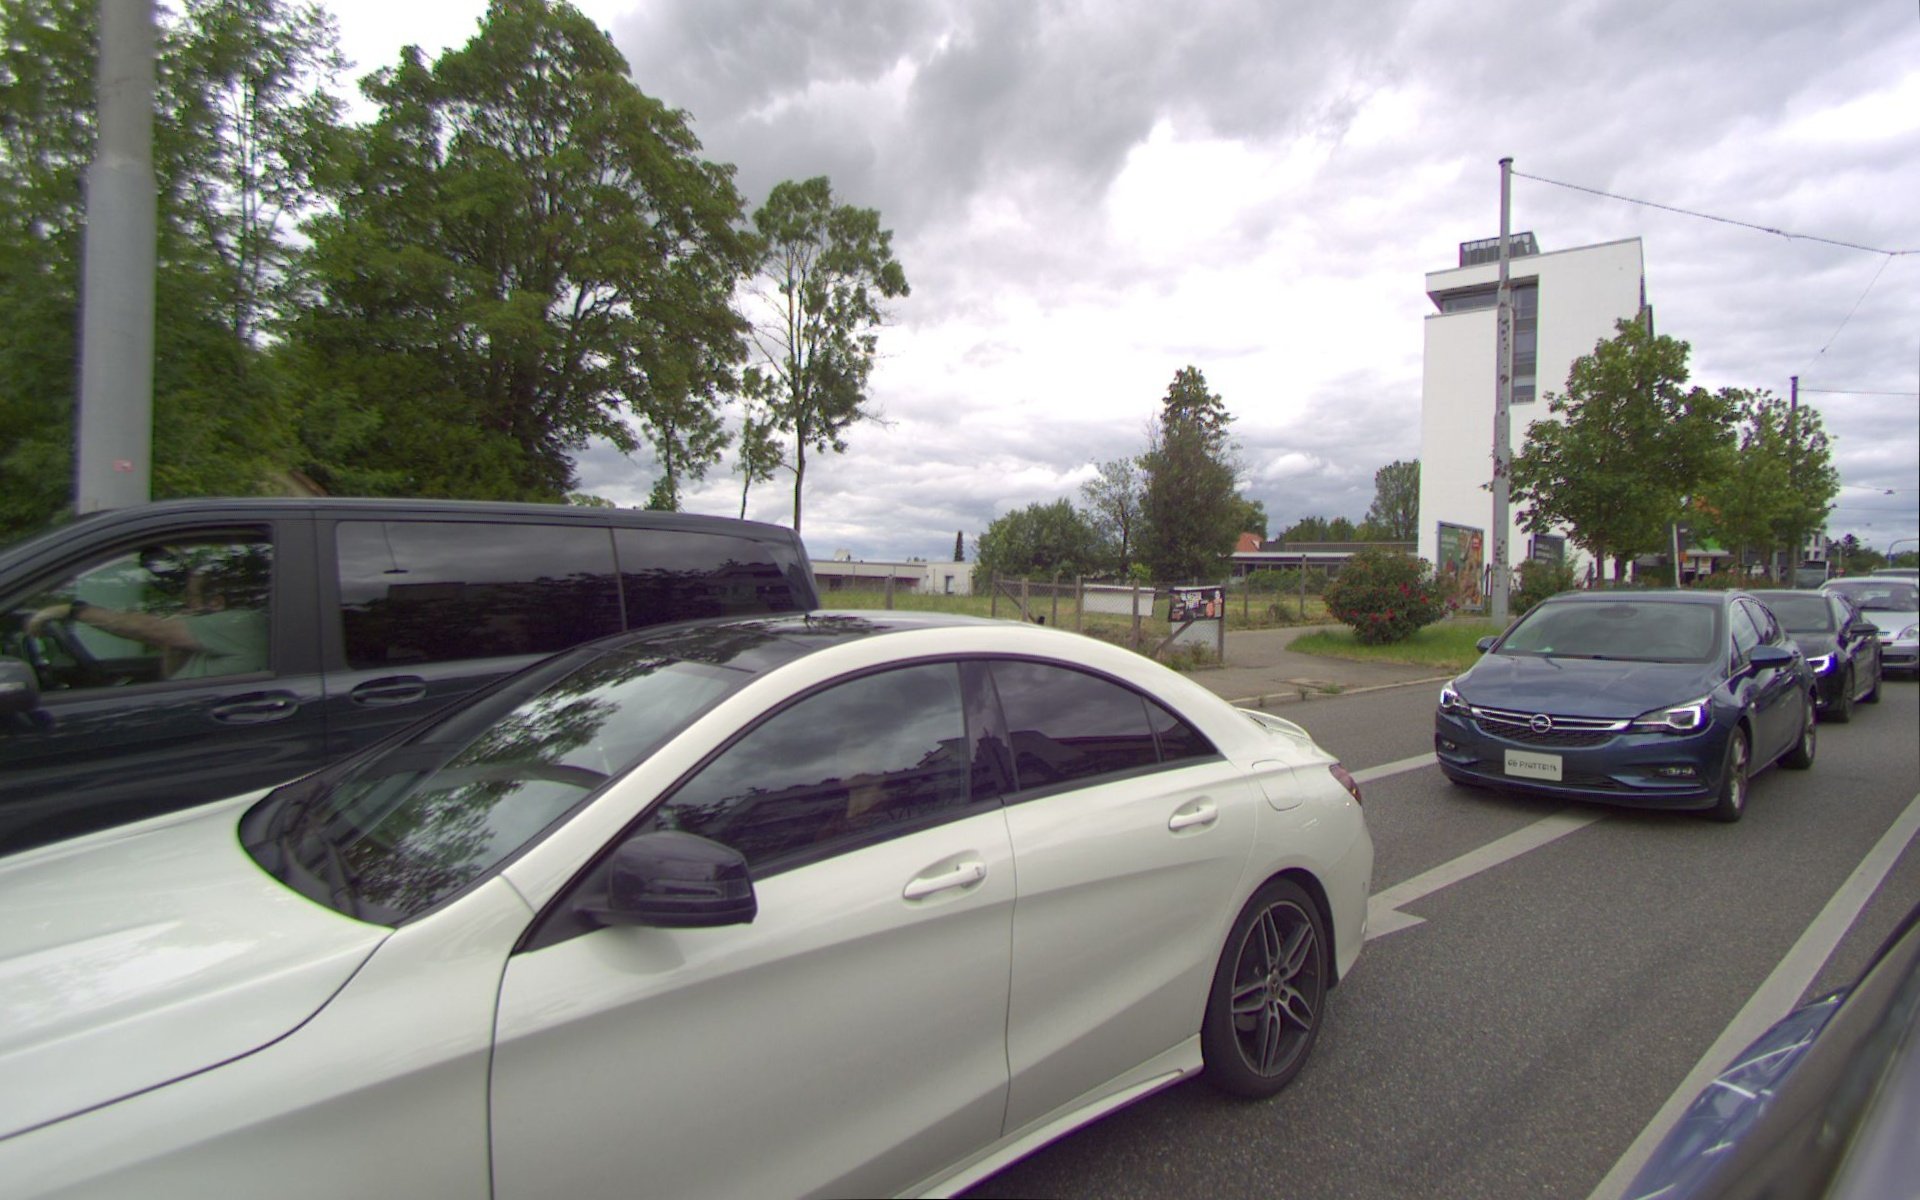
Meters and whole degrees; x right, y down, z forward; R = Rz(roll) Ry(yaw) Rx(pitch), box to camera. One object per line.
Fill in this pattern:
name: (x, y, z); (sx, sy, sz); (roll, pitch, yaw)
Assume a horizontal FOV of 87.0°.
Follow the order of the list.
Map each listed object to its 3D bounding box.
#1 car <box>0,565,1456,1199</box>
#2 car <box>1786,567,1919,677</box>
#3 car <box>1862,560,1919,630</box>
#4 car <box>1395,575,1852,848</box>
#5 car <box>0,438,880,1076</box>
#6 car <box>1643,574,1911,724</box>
car: (-0.551, 0.660, 2.805); (4.618, 1.491, 1.797); (-1, 2, -41)
car: (15.409, 0.273, 16.896); (4.235, 1.619, 1.797); (-1, 2, -41)
car: (25.952, -0.143, 27.357); (3.934, 1.792, 2.017); (-1, 2, -44)
car: (5.185, 0.568, 7.673); (4.235, 1.491, 1.797); (-1, 2, -41)
car: (-2.841, 0.425, 4.451); (4.794, 1.911, 2.012); (-1, 2, -44)
car: (10.017, 0.447, 12.295); (4.235, 1.491, 1.797); (-1, 2, -41)
